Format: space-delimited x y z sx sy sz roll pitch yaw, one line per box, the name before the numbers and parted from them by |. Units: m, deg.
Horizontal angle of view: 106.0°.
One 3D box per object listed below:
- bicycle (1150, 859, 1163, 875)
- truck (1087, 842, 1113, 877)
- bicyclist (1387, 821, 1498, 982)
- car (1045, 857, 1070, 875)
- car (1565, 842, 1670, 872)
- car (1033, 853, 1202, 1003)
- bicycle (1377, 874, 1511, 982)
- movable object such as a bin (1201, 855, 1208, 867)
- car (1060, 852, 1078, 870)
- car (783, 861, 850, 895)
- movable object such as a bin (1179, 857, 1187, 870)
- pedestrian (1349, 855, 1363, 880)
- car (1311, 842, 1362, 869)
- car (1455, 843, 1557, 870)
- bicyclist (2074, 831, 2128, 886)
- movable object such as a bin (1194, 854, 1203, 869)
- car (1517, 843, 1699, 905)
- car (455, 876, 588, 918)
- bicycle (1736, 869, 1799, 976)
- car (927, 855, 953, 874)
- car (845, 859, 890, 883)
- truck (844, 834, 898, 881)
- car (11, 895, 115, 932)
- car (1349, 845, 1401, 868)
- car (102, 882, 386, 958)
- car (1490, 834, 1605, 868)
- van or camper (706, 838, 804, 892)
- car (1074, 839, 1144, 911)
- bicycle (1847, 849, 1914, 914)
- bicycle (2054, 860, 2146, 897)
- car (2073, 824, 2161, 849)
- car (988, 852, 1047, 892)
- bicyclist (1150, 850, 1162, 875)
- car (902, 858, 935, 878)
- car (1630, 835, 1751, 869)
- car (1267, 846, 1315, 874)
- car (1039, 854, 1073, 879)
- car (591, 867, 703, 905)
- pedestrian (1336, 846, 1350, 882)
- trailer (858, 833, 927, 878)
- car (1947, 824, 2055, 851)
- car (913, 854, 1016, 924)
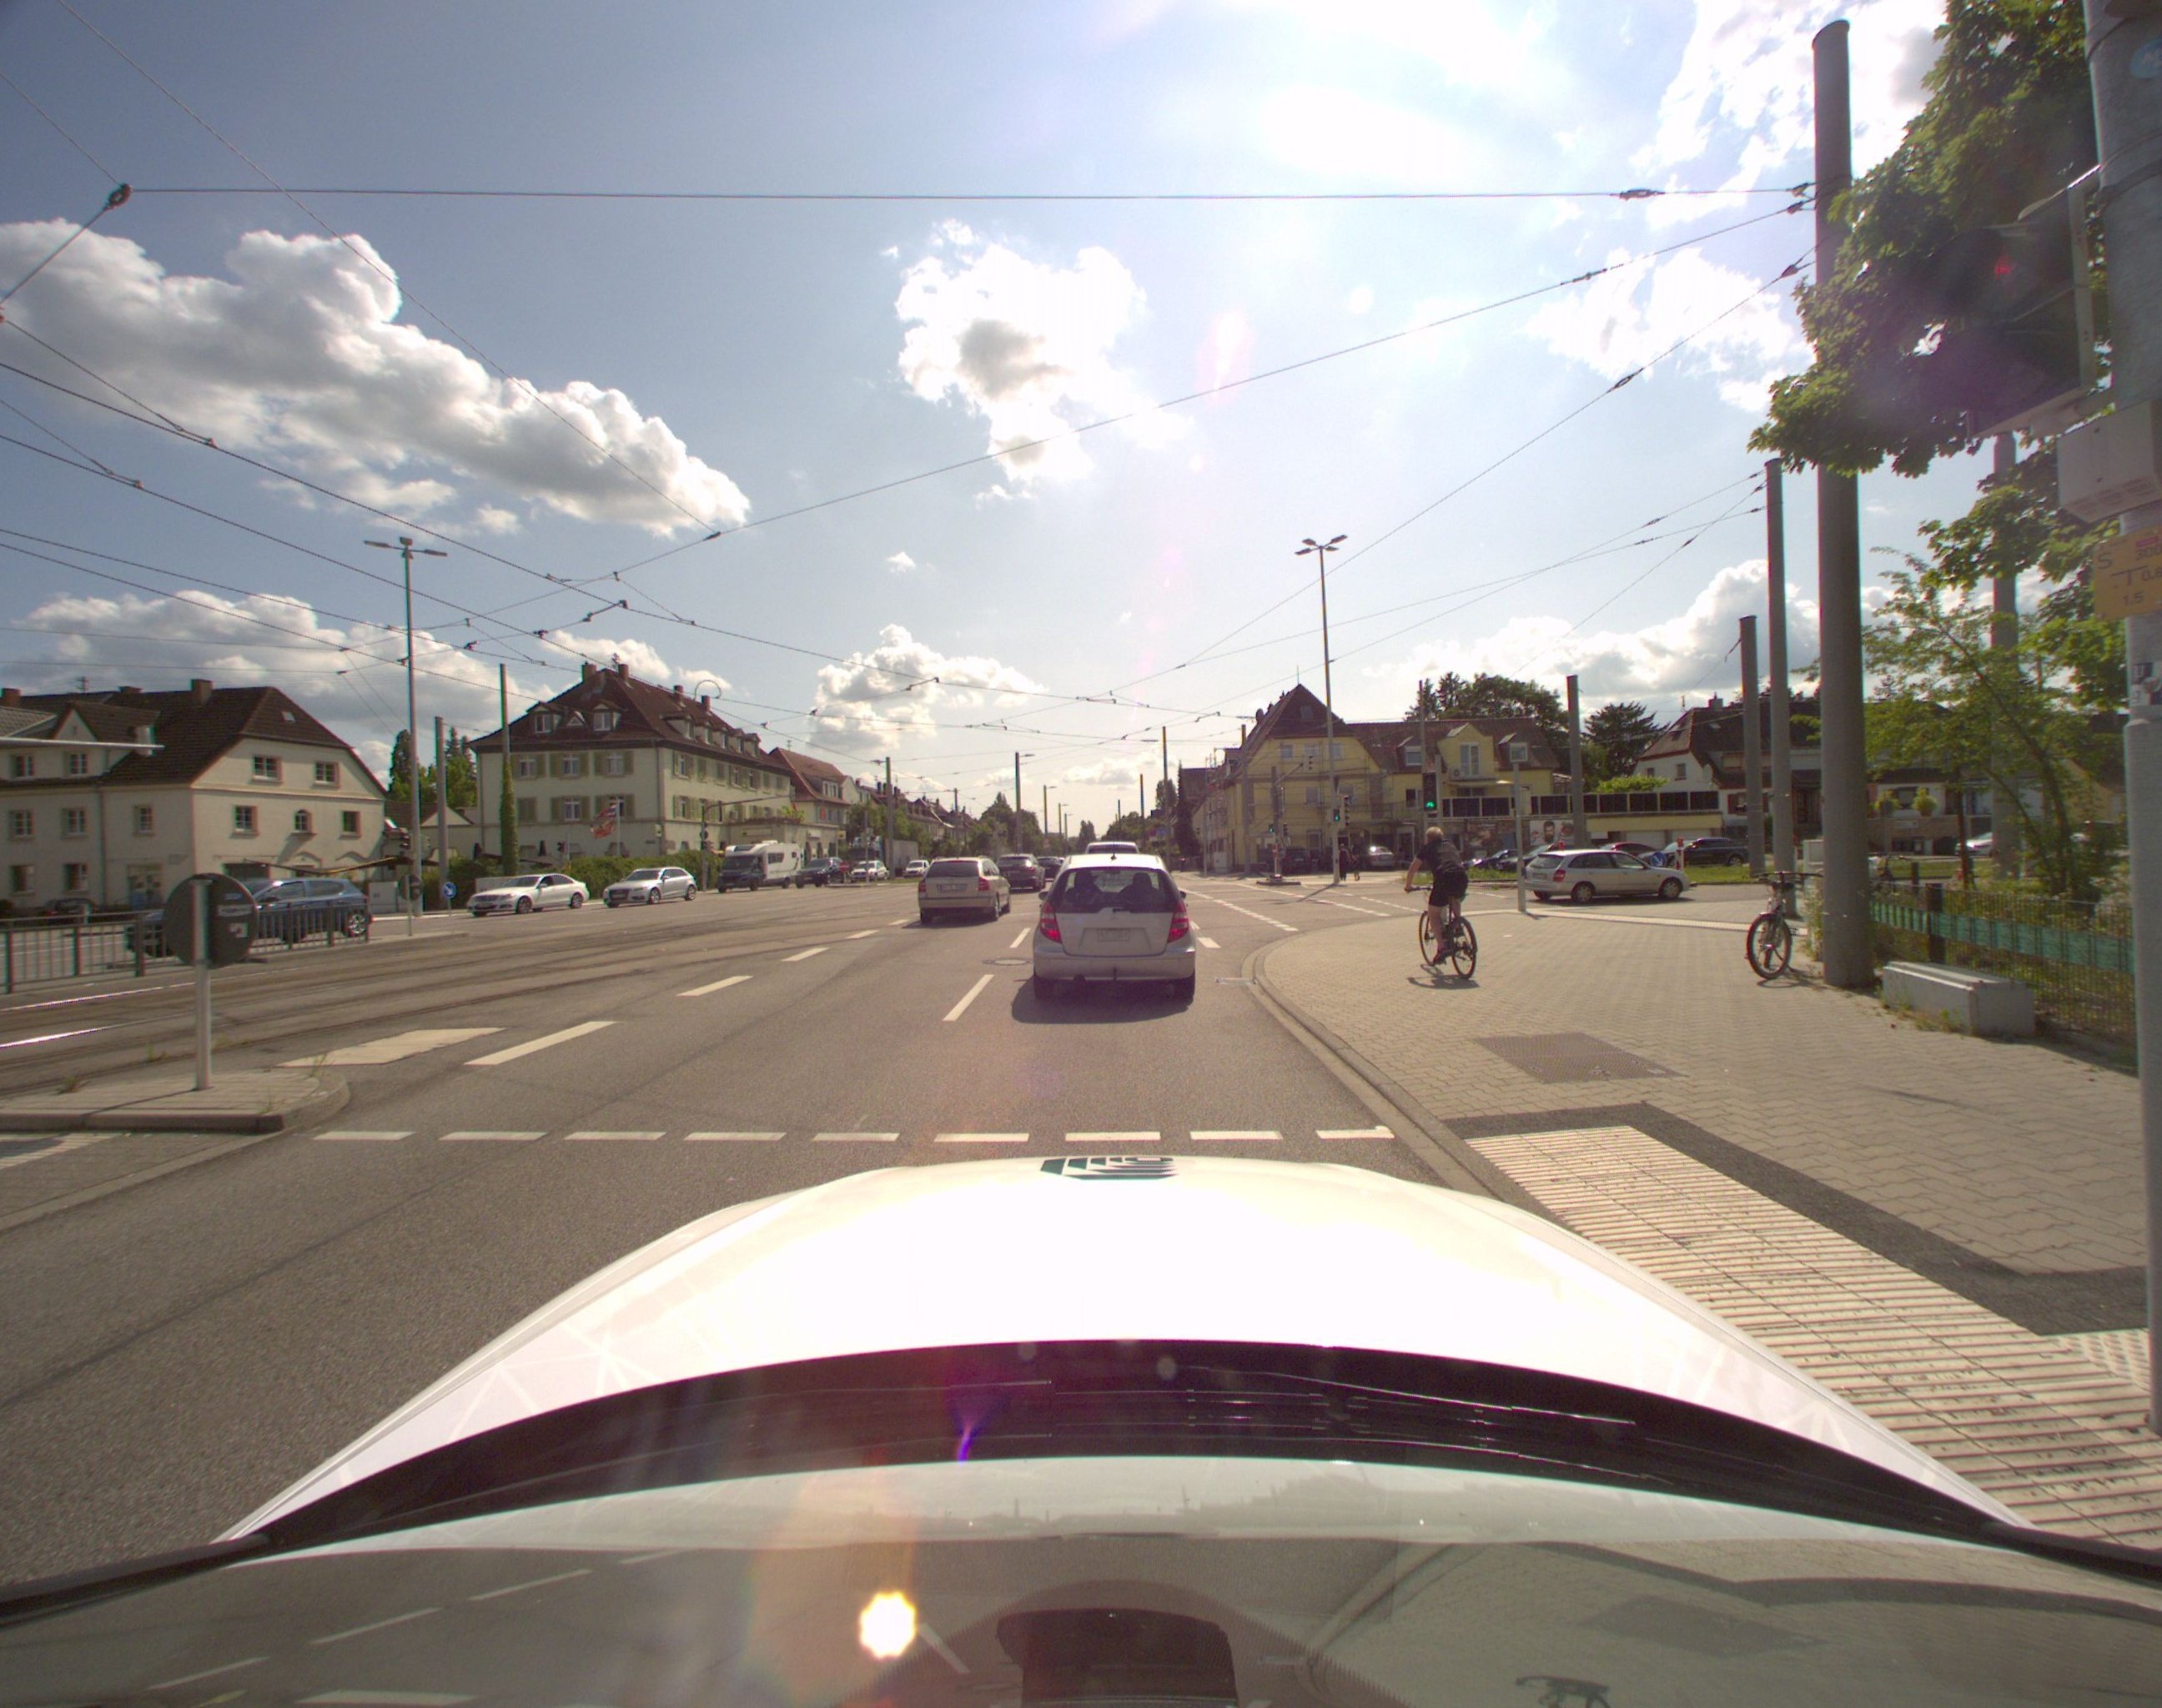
bicycle | 5.231 0.901 56.716 0.649 1.117 1.585 0 -1 -5
truck | 1.411 0.440 61.970 1.846 2.552 5.853 0 -1 0
bicyclist | 4.313 0.533 9.802 0.824 1.793 1.085 -3 0 4
car | -1.806 0.957 64.550 1.846 1.388 3.917 0 -1 0
car | 27.402 0.146 41.655 4.304 1.474 1.738 0 -1 -2
car | 0.355 0.772 10.317 1.725 1.517 4.015 0 -1 -1
bicycle | 4.336 0.835 9.907 0.824 1.075 1.974 -3 0 4
movable object such as a bin | 10.023 0.563 66.331 0.466 0.946 0.558 -2 -1 1
car | -1.204 0.725 82.748 1.846 1.843 3.917 0 -1 0
car | -15.760 1.389 48.798 1.985 1.776 4.883 -3 0 4
movable object such as a bin | 7.542 0.699 60.493 0.509 0.918 0.742 -1 -1 2
pedestrian | 12.471 0.628 36.972 0.486 1.136 0.389 0 -1 2
car | 15.646 0.134 50.132 1.986 1.596 4.132 0 -1 2
car | 21.541 0.148 41.404 4.304 1.308 1.738 0 -1 -2
bicyclist | 23.686 0.097 18.916 0.575 1.234 0.509 -2 -1 -3
movable object such as a bin | 8.748 0.549 60.580 0.509 1.105 0.855 -1 -1 2
car | 14.335 0.507 22.275 3.997 1.403 1.733 -2 3 -6
car | -20.513 1.537 30.128 1.677 1.351 4.350 0 -1 4
bicycle | 7.320 0.674 8.675 0.457 1.018 1.767 -1 -1 41
car | -14.794 1.110 85.539 1.788 1.815 4.713 -3 -1 1
car | -15.667 1.232 59.978 1.986 1.552 4.179 -5 -1 2
truck | -18.280 0.267 71.146 2.587 3.821 5.674 -4 0 4
car | -51.070 2.951 40.875 4.238 1.668 1.944 -1 -1 20
car | 17.998 0.149 50.037 1.860 1.351 4.132 0 -1 2
car | -17.632 1.320 17.511 1.678 1.351 4.179 0 -1 2
car | 21.359 -0.109 37.374 4.304 1.328 1.738 -3 -1 -2
van or camper | -19.436 0.628 49.102 2.314 2.929 7.760 -2 0 3
car | 0.743 0.540 22.180 1.724 1.762 4.017 0 -1 1
bicycle | 14.610 0.489 14.874 1.577 1.138 0.378 0 -1 -27
bicycle | 23.637 0.556 18.900 1.576 0.781 0.504 -2 -1 -4
car | 67.278 -1.074 52.272 1.732 1.474 4.320 0 -1 -6
car | -2.454 0.699 32.531 1.910 1.477 4.562 0 0 1
bicyclist | 5.226 0.601 56.741 0.649 1.738 0.982 0 -1 -5
car | -14.933 1.271 75.167 1.787 1.637 4.475 -3 -1 3
car | 28.005 -0.077 37.493 4.304 1.328 1.738 -3 -1 -2
car | 12.728 0.360 49.640 1.986 1.596 4.132 0 -1 2
car | -1.427 0.732 47.476 1.846 1.388 4.513 0 -1 0
car | -16.787 1.206 31.760 1.986 1.351 4.179 0 -1 2
pedestrian | 11.892 0.450 36.959 0.544 1.643 0.402 0 -1 6
trailer | -17.816 0.078 78.330 2.588 3.821 12.850 -4 0 4
car | 52.345 -0.931 46.394 4.304 1.474 1.738 0 -1 -2
car | -2.646 0.742 19.413 1.724 1.449 4.125 0 0 2
